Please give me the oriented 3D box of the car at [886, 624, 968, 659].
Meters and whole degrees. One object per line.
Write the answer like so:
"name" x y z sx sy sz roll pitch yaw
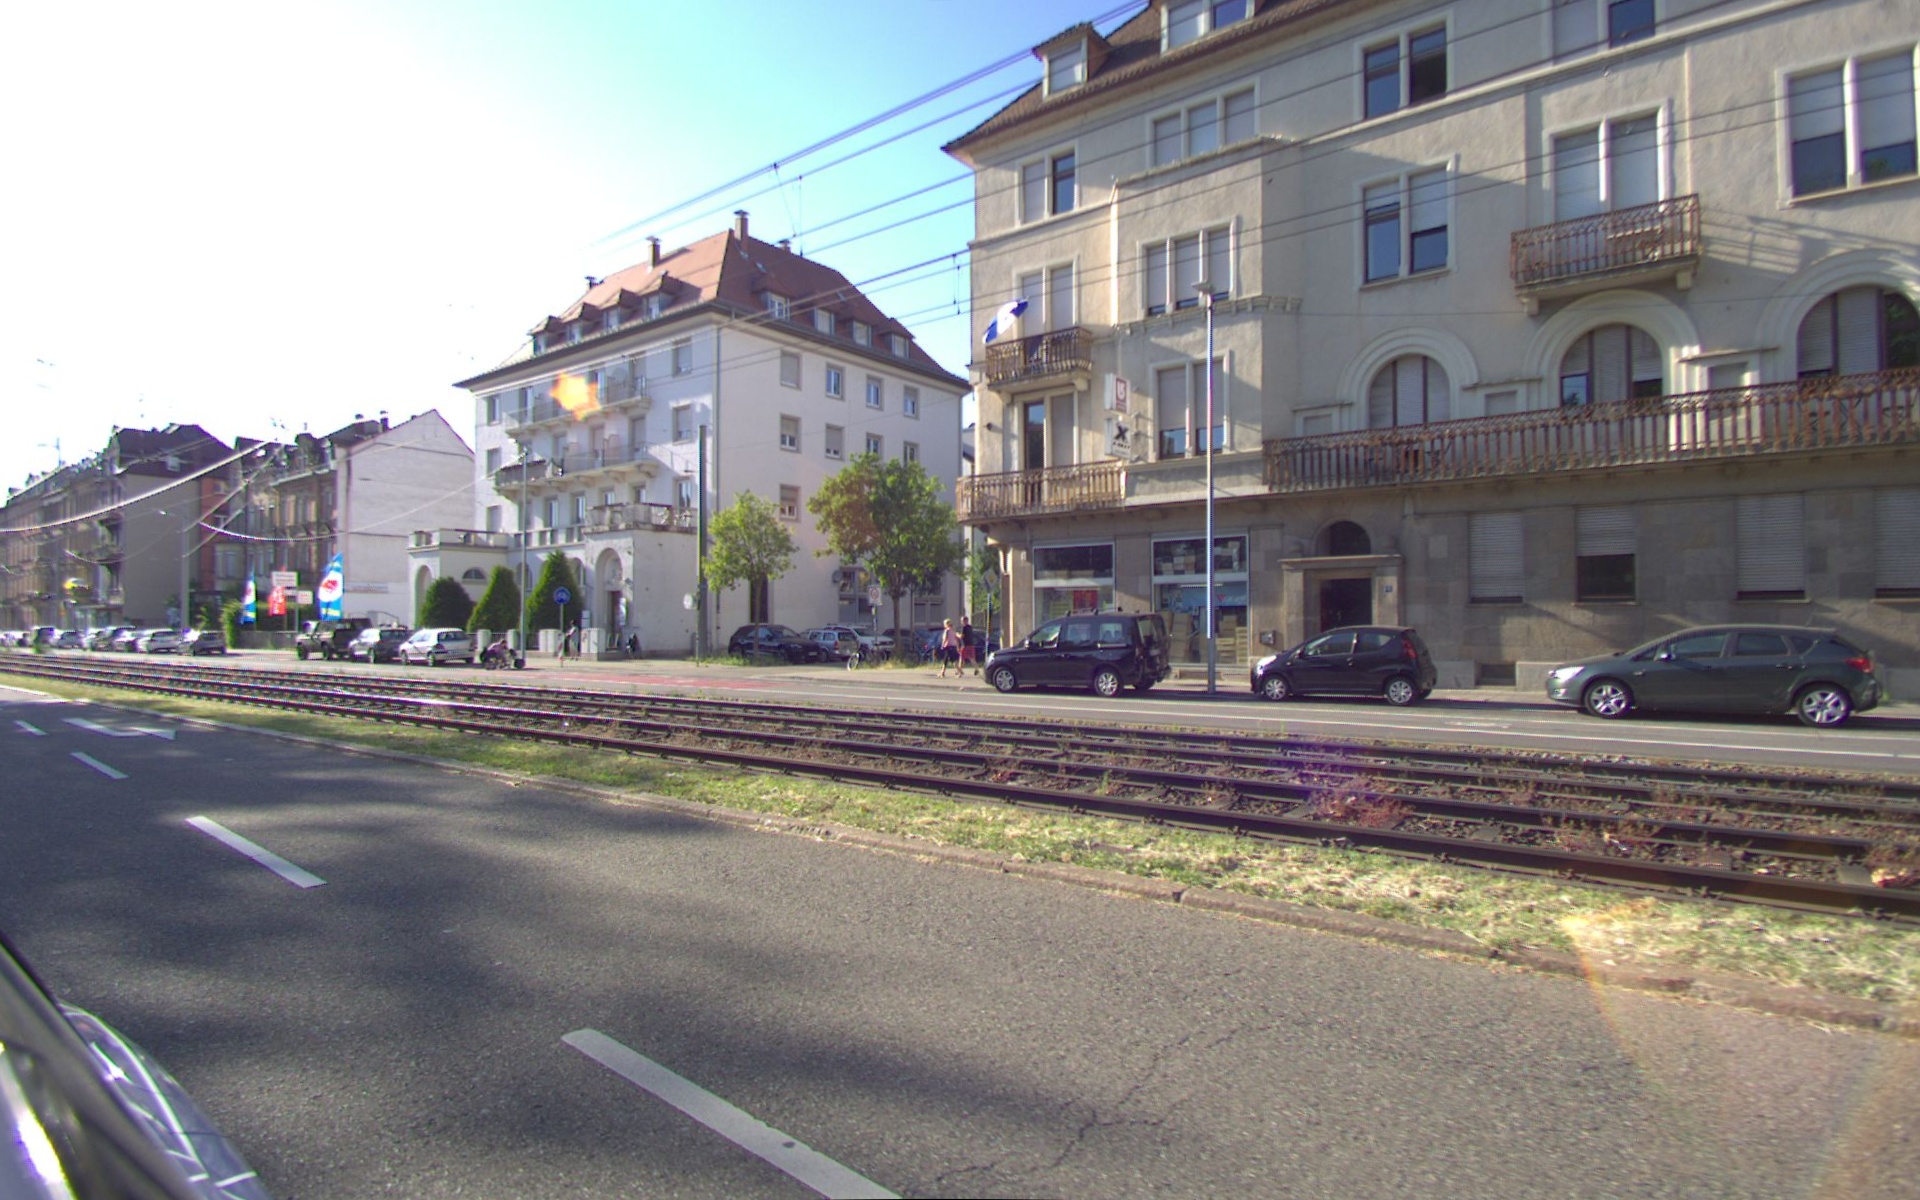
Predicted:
"car" -1.699 2.087 51.481 3.994 1.671 1.777 0 -1 38

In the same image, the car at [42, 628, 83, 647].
"car" -77.016 3.204 86.829 4.621 1.550 1.902 -1 -1 39

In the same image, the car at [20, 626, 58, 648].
"car" -82.304 3.287 90.443 4.720 1.821 1.644 -1 0 37

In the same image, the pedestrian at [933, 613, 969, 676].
"pedestrian" -0.239 1.235 28.326 0.851 1.709 0.587 -1 0 19

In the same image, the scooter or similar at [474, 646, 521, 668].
"scooter or similar" -17.310 2.128 37.909 1.542 0.776 0.810 1 -2 -21

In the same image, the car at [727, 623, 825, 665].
"car" -7.965 1.847 43.644 4.256 1.653 1.777 0 -1 38

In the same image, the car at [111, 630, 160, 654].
"car" -58.377 2.951 71.618 4.839 1.572 1.901 -1 -1 41

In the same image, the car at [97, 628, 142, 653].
"car" -62.621 3.001 75.359 4.495 1.794 1.901 -2 -1 41

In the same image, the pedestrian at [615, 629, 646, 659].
"pedestrian" -14.082 1.867 43.276 0.892 1.196 0.870 -1 0 30

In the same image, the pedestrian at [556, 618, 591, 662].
"pedestrian" -16.295 1.678 42.701 0.929 1.791 0.987 -1 0 24

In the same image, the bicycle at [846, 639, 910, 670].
"bicycle" -2.863 1.873 35.067 2.411 1.023 0.677 -2 -1 41

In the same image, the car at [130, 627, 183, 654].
"car" -53.924 2.719 67.861 4.839 1.707 1.901 -2 -1 41

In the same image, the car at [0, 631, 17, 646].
"car" -95.159 3.809 100.543 3.975 1.457 1.644 -1 0 38

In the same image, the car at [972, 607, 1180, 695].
"car" 2.593 1.137 23.191 4.394 1.800 1.845 -2 0 37

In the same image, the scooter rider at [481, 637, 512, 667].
"scooter rider" -17.347 1.950 37.899 0.962 1.097 0.810 1 -2 -21

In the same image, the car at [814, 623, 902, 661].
"car" -4.863 1.951 47.983 3.994 1.671 1.777 0 -1 38

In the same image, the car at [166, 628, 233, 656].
"car" -46.648 2.541 62.046 4.833 1.471 1.904 -2 3 37

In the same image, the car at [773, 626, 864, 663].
"car" -6.435 1.981 45.887 3.994 1.522 1.777 0 -1 38

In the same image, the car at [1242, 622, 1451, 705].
"car" 7.531 1.190 19.815 3.502 1.401 1.613 -2 1 37

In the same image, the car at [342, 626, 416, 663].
"car" -26.514 1.992 46.127 4.156 1.518 1.618 0 1 40

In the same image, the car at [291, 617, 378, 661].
"car" -31.128 1.890 50.281 5.587 2.025 2.056 -1 0 40

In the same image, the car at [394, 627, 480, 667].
"car" -22.112 1.944 42.728 3.996 1.521 1.776 -1 0 40

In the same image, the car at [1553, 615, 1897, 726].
"car" 11.940 1.035 16.075 4.153 1.480 1.620 -1 1 38

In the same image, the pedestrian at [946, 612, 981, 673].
"pedestrian" 0.091 1.223 29.117 0.851 1.709 0.587 -1 0 19

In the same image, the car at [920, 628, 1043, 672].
"car" 0.760 1.797 37.213 4.231 1.475 1.760 -1 0 32
